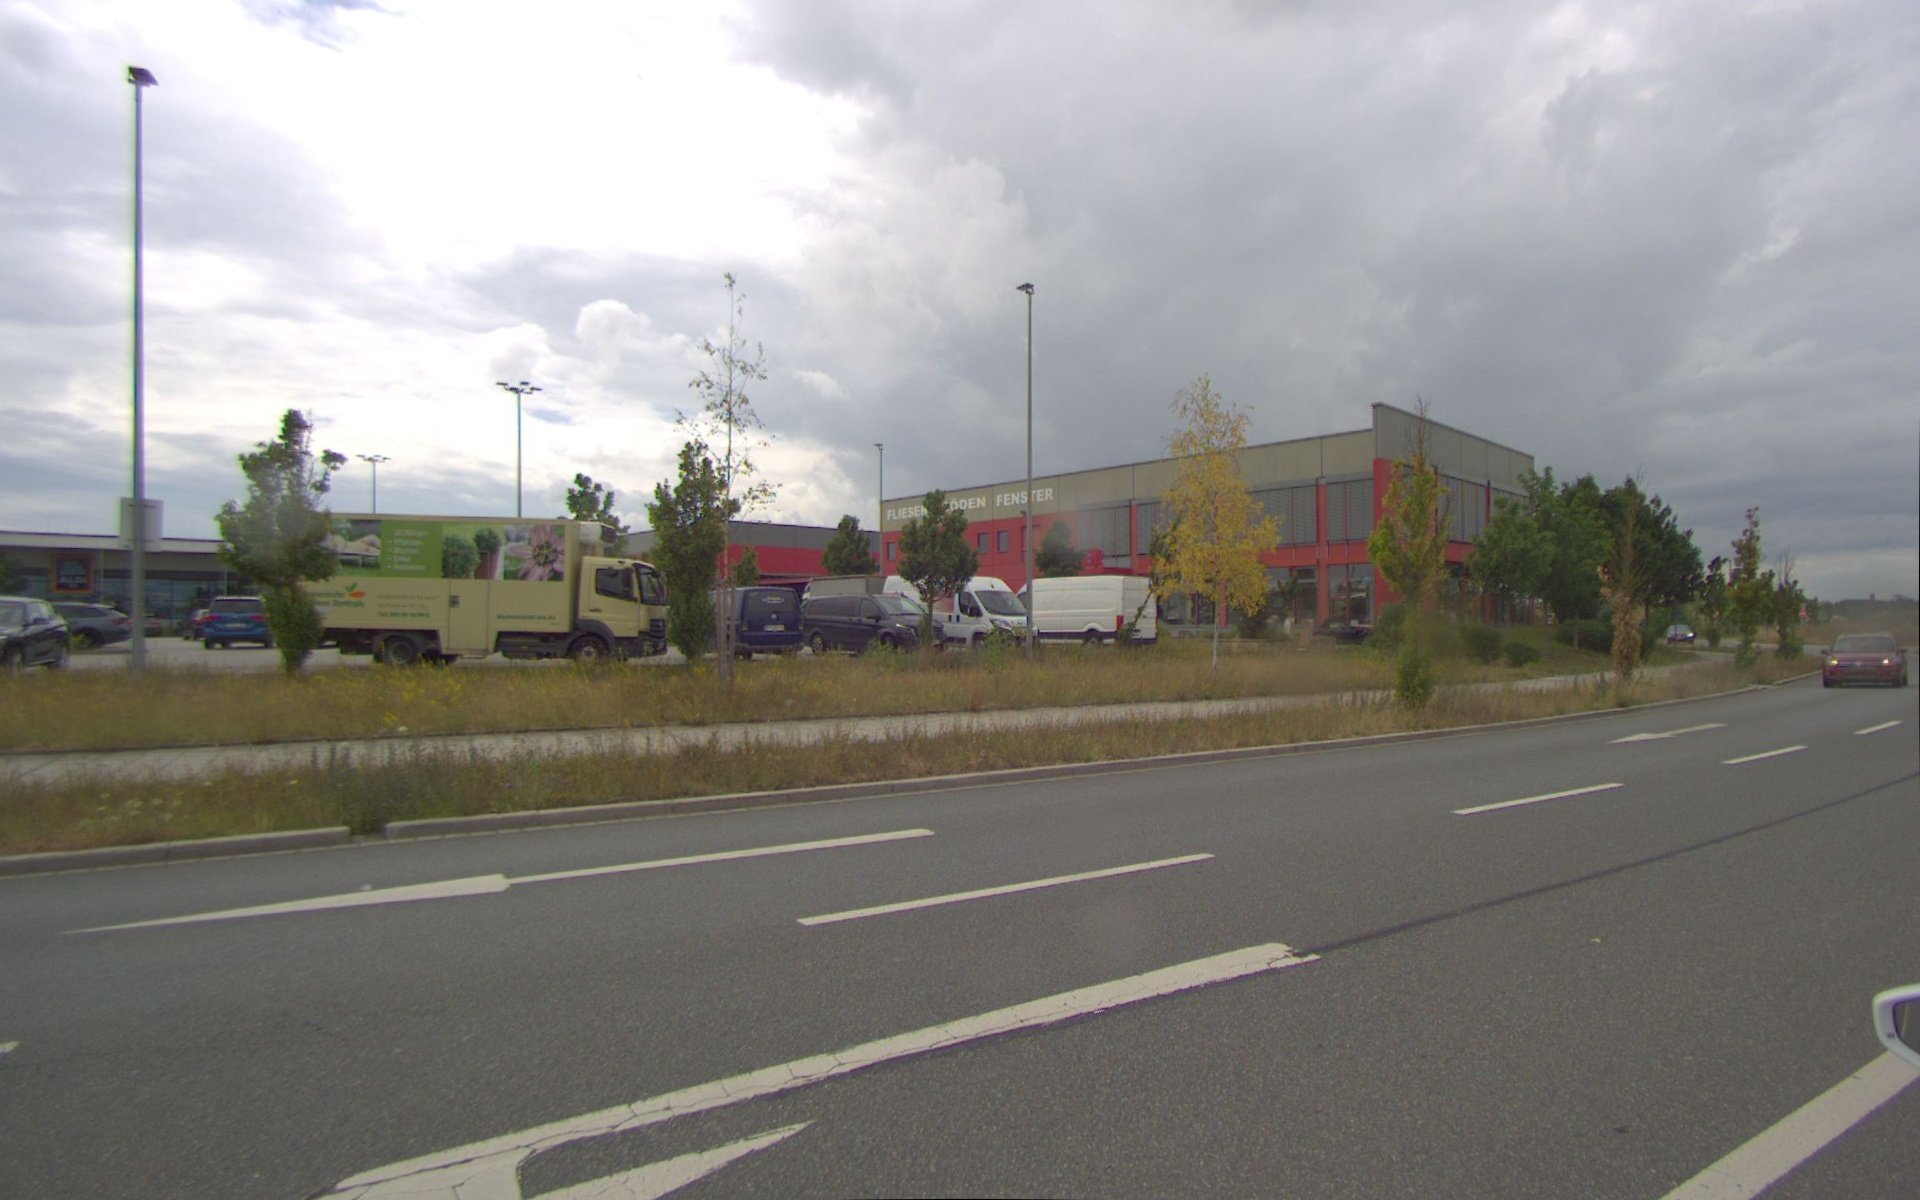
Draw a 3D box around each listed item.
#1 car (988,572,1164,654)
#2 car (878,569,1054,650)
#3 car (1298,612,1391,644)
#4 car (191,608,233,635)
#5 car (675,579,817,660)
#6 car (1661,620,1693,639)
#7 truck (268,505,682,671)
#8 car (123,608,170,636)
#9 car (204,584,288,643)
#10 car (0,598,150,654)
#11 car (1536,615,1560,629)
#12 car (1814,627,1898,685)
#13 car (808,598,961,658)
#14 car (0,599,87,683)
[{"bbox_3d":[3.914,0.464,35.221,2.226,2.633,6.353,1,-1,-41],"label":"car"},{"bbox_3d":[0.053,0.315,32.070,2.194,2.337,6.014,1,-1,-42],"label":"car"},{"bbox_3d":[19.739,1.409,51.741,4.299,1.572,2.001,0,-1,16],"label":"car"},{"bbox_3d":[-46.805,1.375,62.907,1.981,1.628,3.960,1,-2,-36],"label":"car"},{"bbox_3d":[-5.940,0.543,27.422,2.156,2.016,4.873,1,-2,-33],"label":"car"},{"bbox_3d":[56.107,2.344,78.633,1.816,1.425,3.989,-3,-3,33],"label":"car"},{"bbox_3d":[-11.120,-0.219,23.779,8.268,3.588,2.857,1,-1,-5],"label":"truck"},{"bbox_3d":[-49.368,1.322,61.002,1.981,1.628,3.960,1,-2,-36],"label":"car"},{"bbox_3d":[-23.235,0.464,32.818,1.956,1.795,3.966,1,-1,-32],"label":"car"},{"bbox_3d":[-27.984,0.784,30.399,1.973,1.628,5.239,-1,-2,45],"label":"car"},{"bbox_3d":[81.411,2.992,139.015,3.973,1.884,1.974,1,-1,-44],"label":"car"},{"bbox_3d":[28.065,1.741,31.428,1.780,1.691,4.302,-4,-4,43],"label":"car"},{"bbox_3d":[-2.354,0.822,30.141,1.981,1.638,4.855,2,-2,-43],"label":"car"},{"bbox_3d":[-18.360,0.749,18.901,1.973,1.454,4.215,1,-1,-28],"label":"car"}]
